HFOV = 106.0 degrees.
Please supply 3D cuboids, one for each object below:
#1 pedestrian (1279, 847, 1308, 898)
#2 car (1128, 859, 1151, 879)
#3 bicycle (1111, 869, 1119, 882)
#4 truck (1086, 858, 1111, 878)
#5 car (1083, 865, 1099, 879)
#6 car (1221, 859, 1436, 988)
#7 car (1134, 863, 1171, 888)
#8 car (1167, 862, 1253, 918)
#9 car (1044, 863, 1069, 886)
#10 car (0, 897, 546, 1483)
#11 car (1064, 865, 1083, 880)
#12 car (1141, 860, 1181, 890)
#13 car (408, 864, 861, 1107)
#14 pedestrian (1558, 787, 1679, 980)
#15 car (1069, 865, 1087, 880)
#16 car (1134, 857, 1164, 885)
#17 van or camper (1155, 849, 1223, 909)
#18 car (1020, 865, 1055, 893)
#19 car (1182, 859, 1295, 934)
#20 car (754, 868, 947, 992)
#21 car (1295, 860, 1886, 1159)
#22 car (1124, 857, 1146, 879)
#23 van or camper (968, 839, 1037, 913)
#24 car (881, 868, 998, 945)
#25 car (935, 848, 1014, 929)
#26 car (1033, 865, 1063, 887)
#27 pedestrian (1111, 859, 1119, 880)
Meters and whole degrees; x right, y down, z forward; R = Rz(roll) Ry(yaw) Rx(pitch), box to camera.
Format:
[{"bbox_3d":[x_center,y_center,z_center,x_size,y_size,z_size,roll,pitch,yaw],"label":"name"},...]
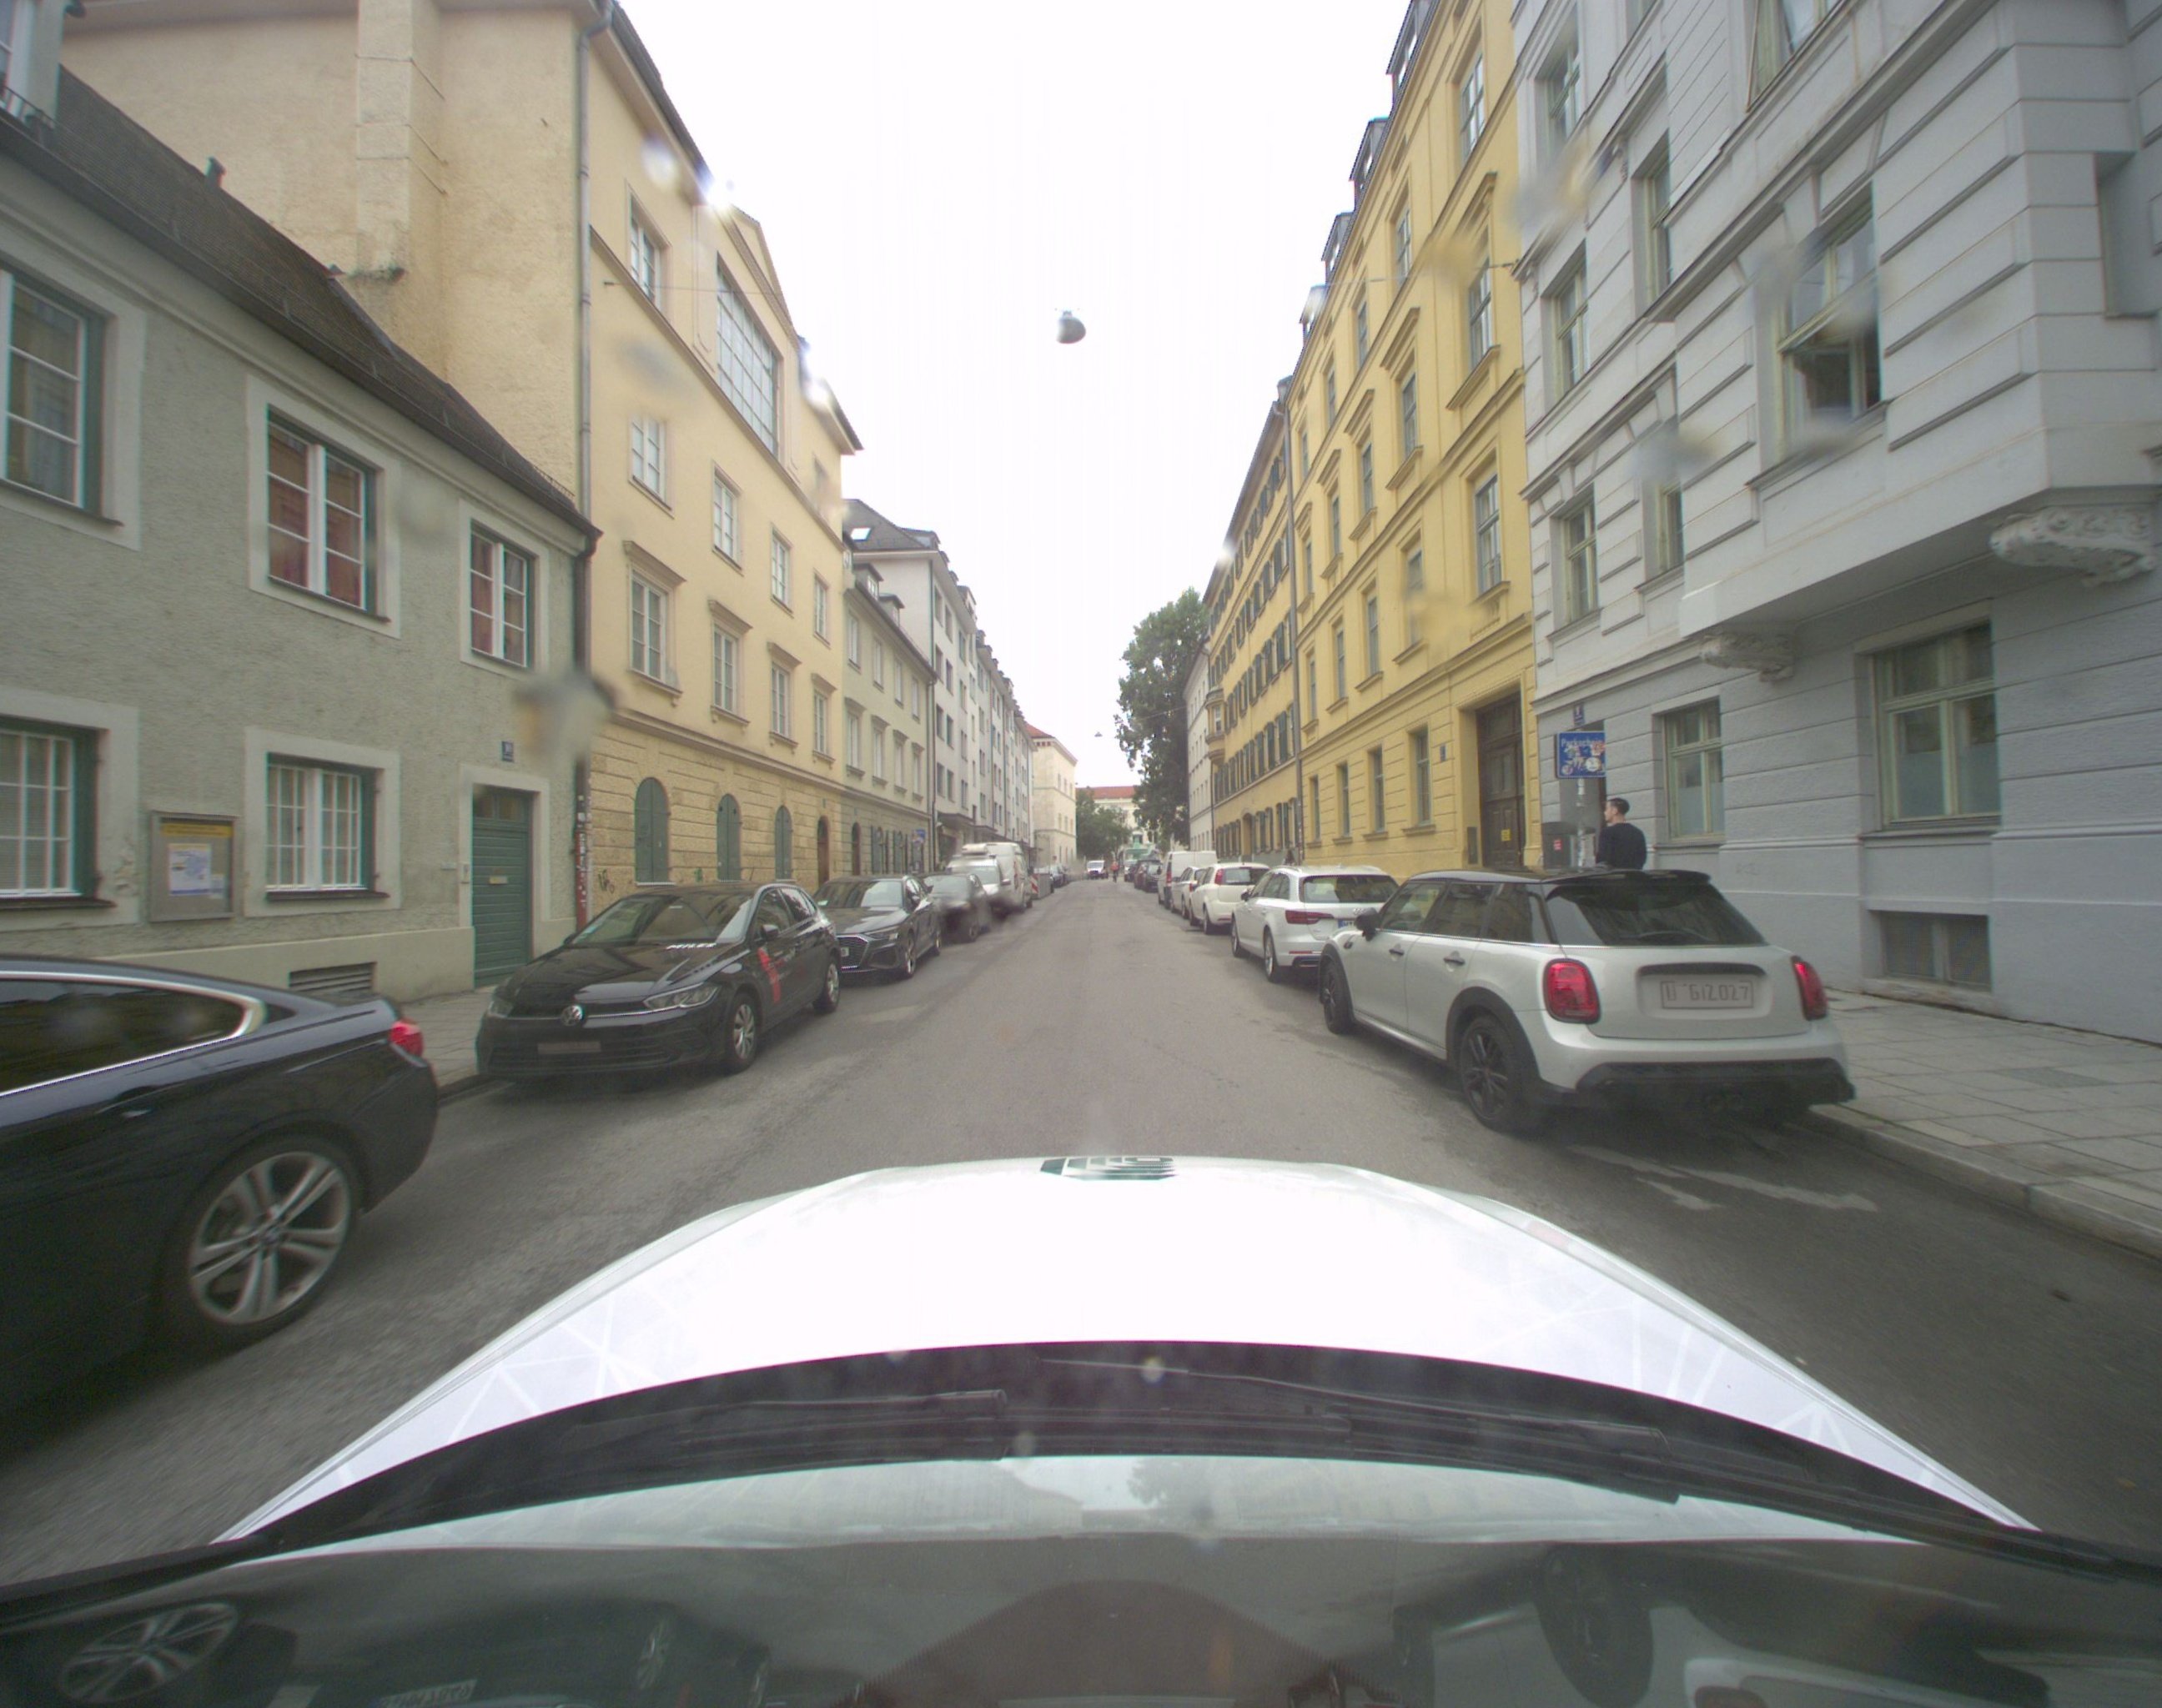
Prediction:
[{"bbox_3d":[6.887,0.601,26.436,0.658,1.571,0.642,-4,-2,1],"label":"pedestrian"},{"bbox_3d":[4.947,1.267,68.921,1.805,1.614,4.157,-2,-1,2],"label":"car"},{"bbox_3d":[2.913,1.853,69.347,0.673,1.095,1.761,-2,-2,2],"label":"bicycle"},{"bbox_3d":[2.114,1.645,96.704,2.108,2.247,6.200,-2,-2,9],"label":"truck"},{"bbox_3d":[1.308,2.285,104.268,1.699,1.581,3.867,-2,-1,4],"label":"car"},{"bbox_3d":[3.180,0.815,11.521,1.701,1.408,4.816,-1,-1,2],"label":"car"},{"bbox_3d":[4.174,1.244,48.059,1.806,1.425,4.246,0,-1,0],"label":"car"},{"bbox_3d":[3.511,0.940,22.851,1.703,1.392,4.205,-1,-1,0],"label":"car"},{"bbox_3d":[-1.835,1.529,61.934,1.700,1.609,3.863,-2,-1,1],"label":"car"},{"bbox_3d":[-3.564,0.890,1.650,1.792,1.339,4.685,-1,0,1],"label":"car"},{"bbox_3d":[-0.773,2.017,89.667,1.699,1.609,3.867,-2,-1,4],"label":"car"},{"bbox_3d":[4.143,1.091,42.589,1.805,1.465,4.247,0,-1,1],"label":"car"},{"bbox_3d":[-3.386,0.859,7.250,1.749,1.496,4.198,-1,-1,-1],"label":"car"},{"bbox_3d":[5.853,0.321,8.911,0.667,1.980,0.709,-5,-2,2],"label":"pedestrian"},{"bbox_3d":[-0.368,2.159,95.724,1.699,1.581,3.867,-2,-1,4],"label":"car"},{"bbox_3d":[4.564,1.138,54.963,1.804,1.797,4.249,0,-1,2],"label":"car"},{"bbox_3d":[3.630,0.815,28.170,1.826,1.872,5.081,-1,-1,2],"label":"van or camper"},{"bbox_3d":[-2.512,1.400,46.306,1.759,1.411,4.147,-2,-1,-6],"label":"car"},{"bbox_3d":[3.380,0.872,18.214,1.703,1.454,4.095,-1,-1,0],"label":"car"},{"bbox_3d":[-3.227,0.989,12.291,1.811,1.441,4.128,-2,0,-2],"label":"car"},{"bbox_3d":[3.021,0.780,6.042,1.703,1.404,4.206,-1,-1,-1],"label":"car"},{"bbox_3d":[4.918,1.272,74.801,1.844,1.920,4.771,-2,-1,2],"label":"car"},{"bbox_3d":[-2.609,0.727,28.087,1.748,2.281,5.273,-1,-1,1],"label":"van or camper"},{"bbox_3d":[-2.884,1.025,17.458,1.749,1.409,4.103,-1,-1,0],"label":"car"},{"bbox_3d":[-2.844,0.895,22.633,1.750,1.995,4.621,-1,-1,-2],"label":"car"},{"bbox_3d":[-2.261,1.507,56.489,1.811,1.444,3.818,-2,-1,1],"label":"car"},{"bbox_3d":[2.897,1.336,69.419,0.639,1.714,0.843,-2,-2,2],"label":"pedestrian"}]
